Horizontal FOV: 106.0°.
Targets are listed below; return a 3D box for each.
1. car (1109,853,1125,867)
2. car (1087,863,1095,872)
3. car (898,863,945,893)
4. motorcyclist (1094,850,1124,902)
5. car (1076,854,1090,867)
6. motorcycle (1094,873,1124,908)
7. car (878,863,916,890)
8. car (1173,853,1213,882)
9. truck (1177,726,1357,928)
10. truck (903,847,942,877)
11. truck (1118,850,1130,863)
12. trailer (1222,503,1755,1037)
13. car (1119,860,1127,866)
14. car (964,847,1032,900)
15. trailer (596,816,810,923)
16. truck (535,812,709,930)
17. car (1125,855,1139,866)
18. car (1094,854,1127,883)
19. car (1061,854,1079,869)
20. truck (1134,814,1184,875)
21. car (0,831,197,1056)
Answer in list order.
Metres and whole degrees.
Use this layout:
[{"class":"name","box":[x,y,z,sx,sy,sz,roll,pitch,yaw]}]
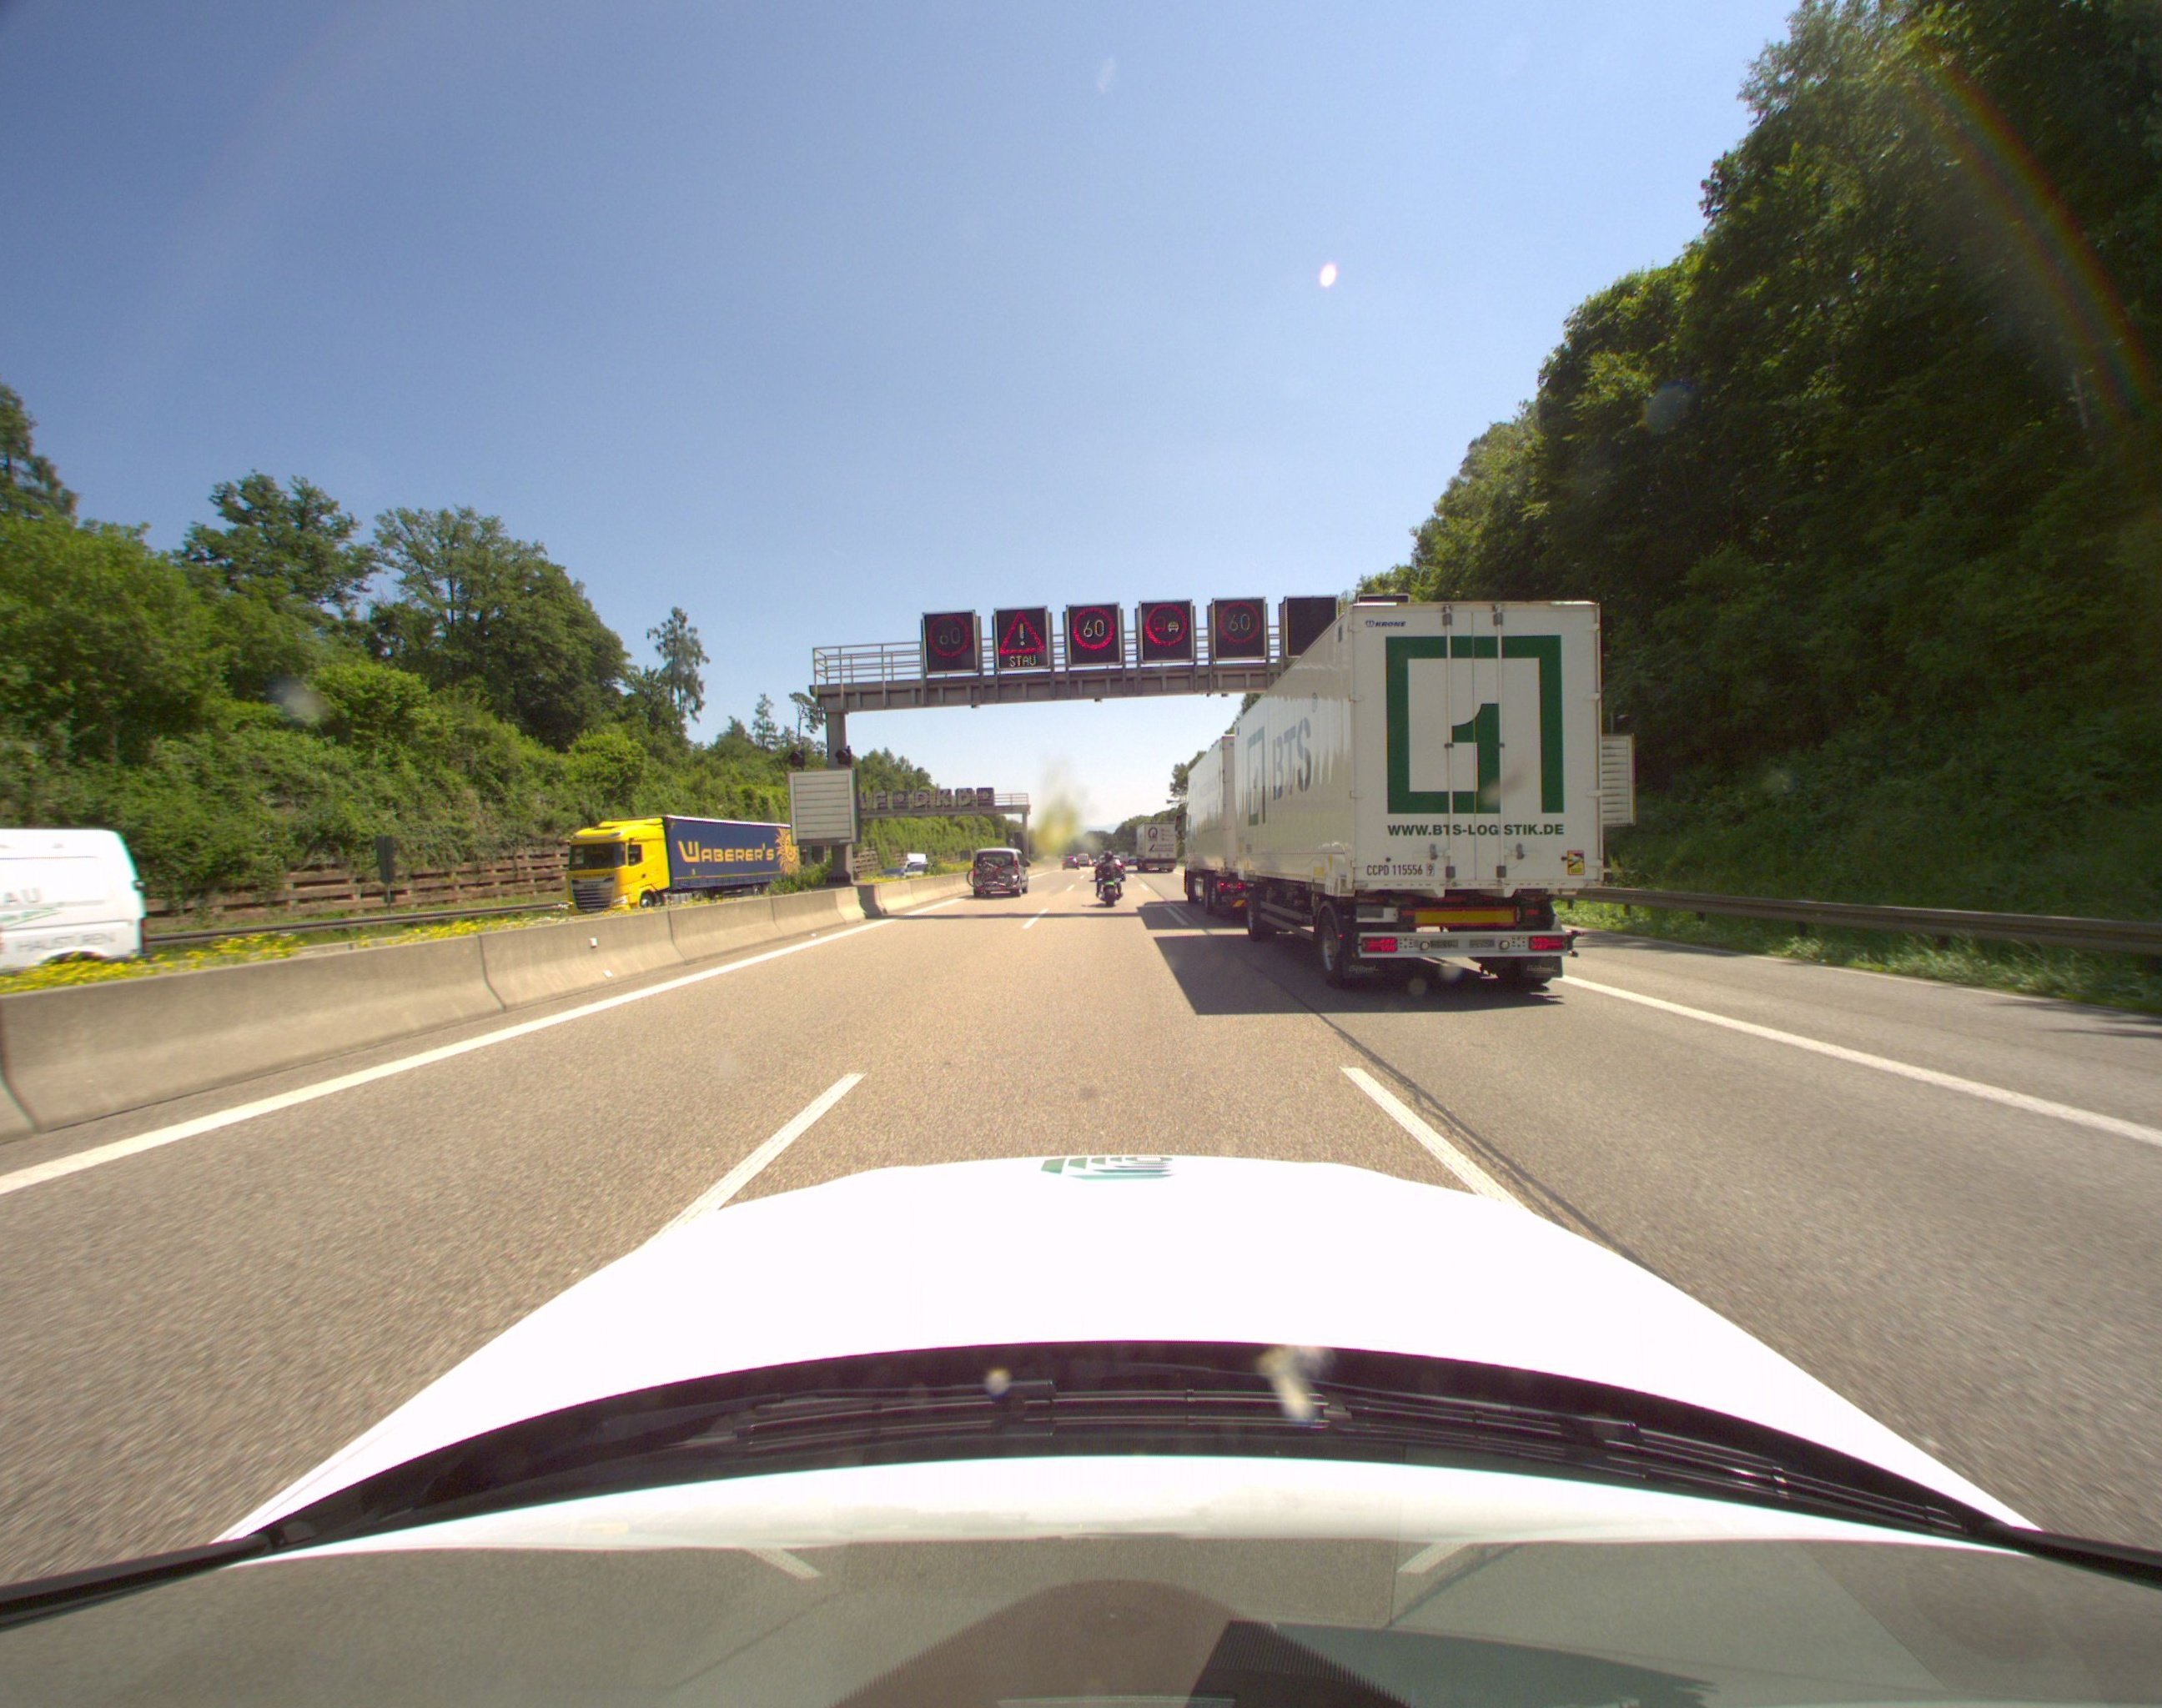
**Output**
[{"class":"car","box":[4.228,0.723,95.278,1.824,1.558,4.121,-1,0,1]},{"class":"car","box":[2.255,3.047,181.857,1.824,1.810,4.121,-1,0,1]},{"class":"car","box":[-9.749,1.430,50.073,1.837,1.605,4.118,-3,0,1]},{"class":"motorcyclist","box":[0.849,0.656,24.642,0.852,1.515,0.914,-1,-1,2]},{"class":"car","box":[0.306,0.896,119.652,1.824,1.810,4.121,-1,0,1]},{"class":"motorcycle","box":[0.865,1.090,24.685,0.859,0.982,2.132,-1,-1,3]},{"class":"car","box":[-12.039,1.452,53.489,1.510,1.535,3.551,-3,0,1]},{"class":"car","box":[6.532,0.756,47.794,1.838,1.557,4.394,-1,0,1]},{"class":"truck","box":[4.389,-0.547,21.827,2.670,4.059,10.629,-1,0,2]},{"class":"truck","box":[-17.023,0.762,87.974,2.570,2.992,7.065,-3,0,2]},{"class":"truck","box":[11.910,0.668,227.710,3.056,3.346,9.656,0,0,2]},{"class":"trailer","box":[4.079,-0.659,11.452,2.670,4.175,10.069,-1,0,2]},{"class":"car","box":[10.515,2.182,204.430,1.824,1.526,4.028,-1,0,1]},{"class":"car","box":[-3.098,0.698,31.419,1.891,1.848,5.484,-1,-1,2]},{"class":"trailer","box":[-18.033,0.628,40.889,2.965,4.207,14.478,-4,0,3]},{"class":"truck","box":[-18.494,0.626,33.395,2.938,4.202,6.463,-4,0,3]},{"class":"car","box":[7.661,0.974,122.743,1.824,1.526,4.028,-1,0,1]},{"class":"car","box":[1.717,0.796,47.763,1.838,1.557,4.441,-1,0,1]},{"class":"car","box":[-1.215,0.750,88.776,1.751,1.544,4.396,-1,0,1]},{"class":"truck","box":[6.622,-0.760,71.968,3.370,4.718,17.716,0,0,2]},{"class":"car","box":[-14.239,1.130,8.897,2.744,2.673,5.686,-3,0,1]}]
